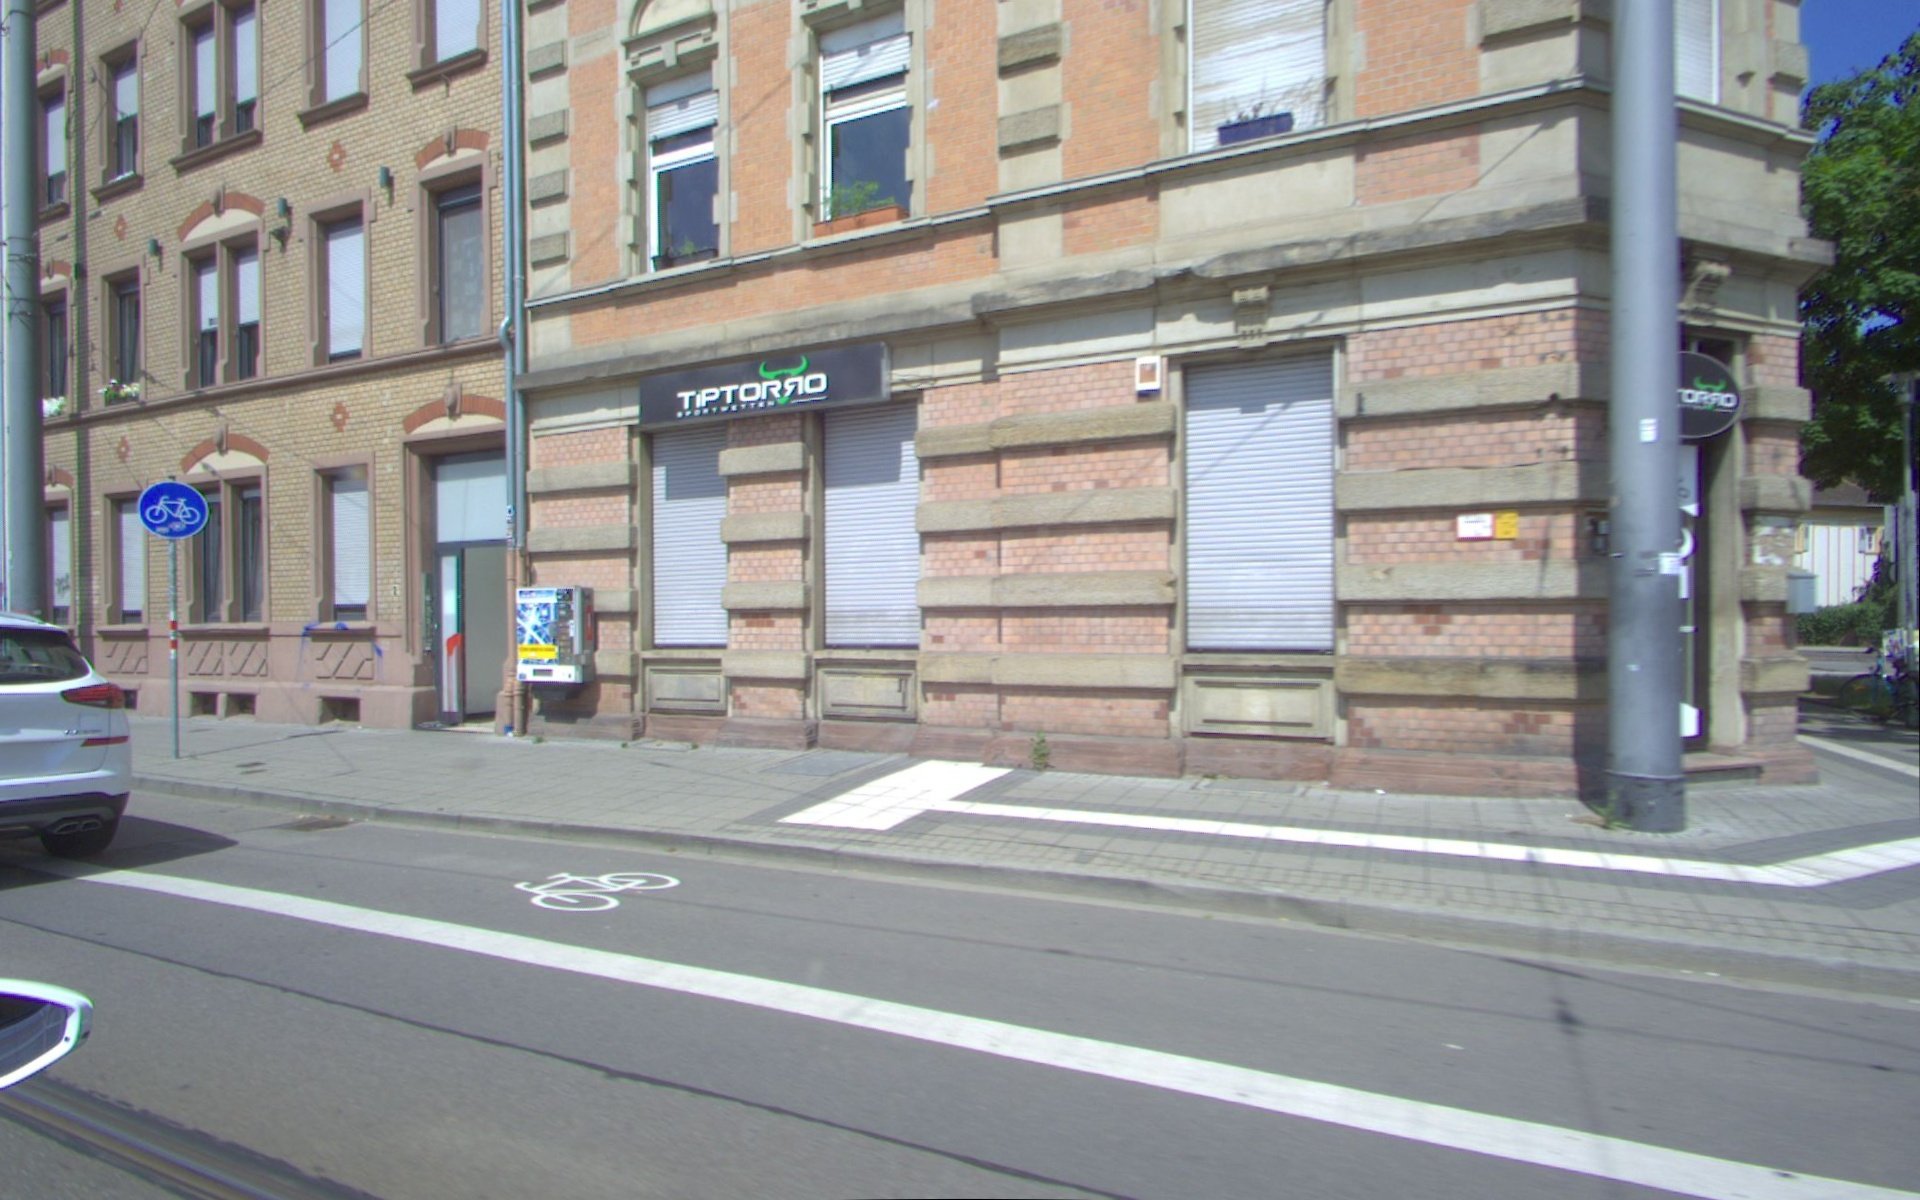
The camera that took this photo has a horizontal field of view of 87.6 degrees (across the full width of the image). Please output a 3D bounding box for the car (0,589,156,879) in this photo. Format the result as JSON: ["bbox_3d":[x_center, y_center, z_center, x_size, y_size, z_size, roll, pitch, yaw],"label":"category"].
[{"bbox_3d":[-7.363,0.810,6.541,4.117,1.654,1.851,-2,-2,29],"label":"car"}]

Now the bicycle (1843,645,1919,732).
[{"bbox_3d":[12.594,1.168,13.539,0.754,1.064,1.643,0,-1,34],"label":"bicycle"}]
